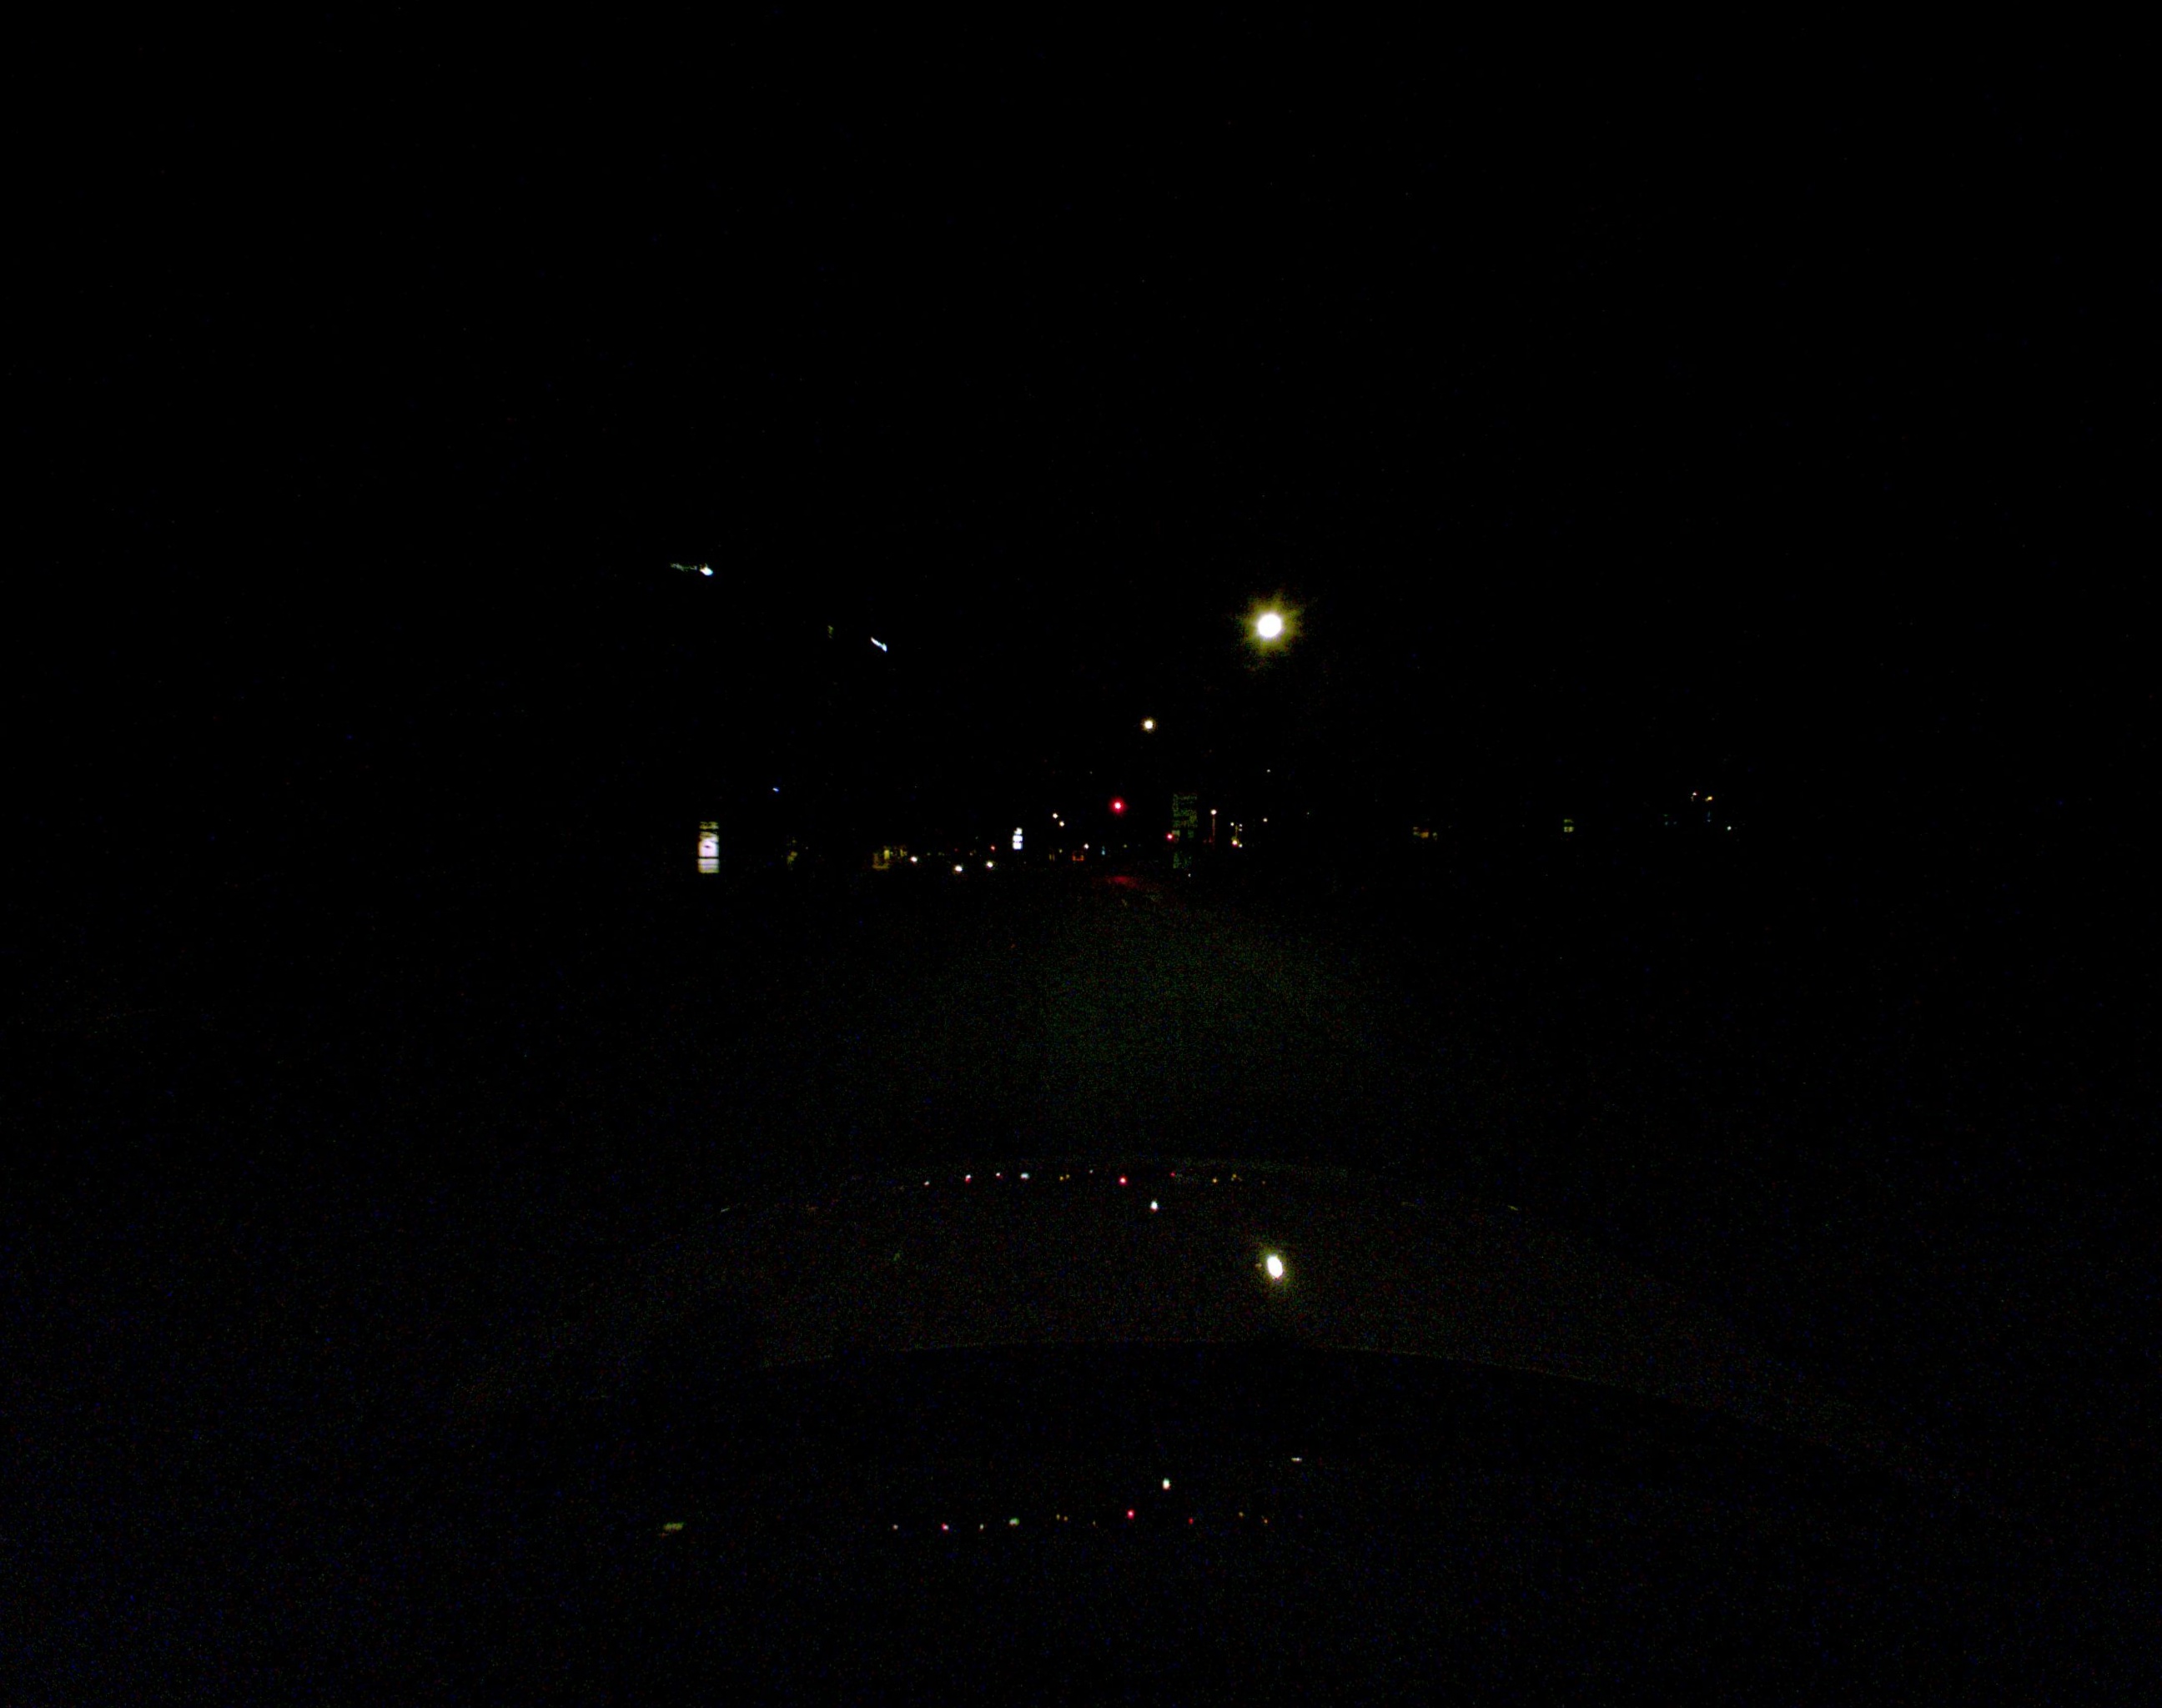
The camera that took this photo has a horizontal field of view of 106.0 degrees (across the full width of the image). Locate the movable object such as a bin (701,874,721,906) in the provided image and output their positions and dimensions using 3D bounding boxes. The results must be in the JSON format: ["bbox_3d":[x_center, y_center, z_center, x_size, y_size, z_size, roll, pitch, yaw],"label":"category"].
[{"bbox_3d":[-15.674,1.504,34.508,0.623,1.307,0.562,-3,0,-37],"label":"movable object such as a bin"}]

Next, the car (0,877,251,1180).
[{"bbox_3d":[-6.127,0.877,2.856,1.904,1.404,4.338,-2,0,1],"label":"car"}]

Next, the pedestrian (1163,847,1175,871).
[{"bbox_3d":[7.056,0.397,65.580,0.738,1.982,0.622,-1,0,-16],"label":"pedestrian"}]

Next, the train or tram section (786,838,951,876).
[{"bbox_3d":[-25.269,0.406,97.016,19.073,3.823,2.929,-2,0,6],"label":"train or tram section"}]

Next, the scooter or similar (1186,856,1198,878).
[{"bbox_3d":[6.446,0.740,47.436,0.492,1.262,1.321,-3,0,3],"label":"scooter or similar"}]

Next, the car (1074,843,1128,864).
[{"bbox_3d":[4.854,-0.160,198.019,12.398,4.709,4.788,-1,0,-13],"label":"car"}]

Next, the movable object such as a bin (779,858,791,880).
[{"bbox_3d":[-19.838,0.981,54.608,0.438,1.451,0.810,-2,1,5],"label":"movable object such as a bin"}]

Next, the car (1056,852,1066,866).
[{"bbox_3d":[-4.483,1.137,184.809,1.990,2.974,3.994,-1,0,-4],"label":"car"}]

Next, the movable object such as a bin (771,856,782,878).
[{"bbox_3d":[-20.083,0.844,53.694,0.355,1.370,0.733,-2,3,3],"label":"movable object such as a bin"}]
